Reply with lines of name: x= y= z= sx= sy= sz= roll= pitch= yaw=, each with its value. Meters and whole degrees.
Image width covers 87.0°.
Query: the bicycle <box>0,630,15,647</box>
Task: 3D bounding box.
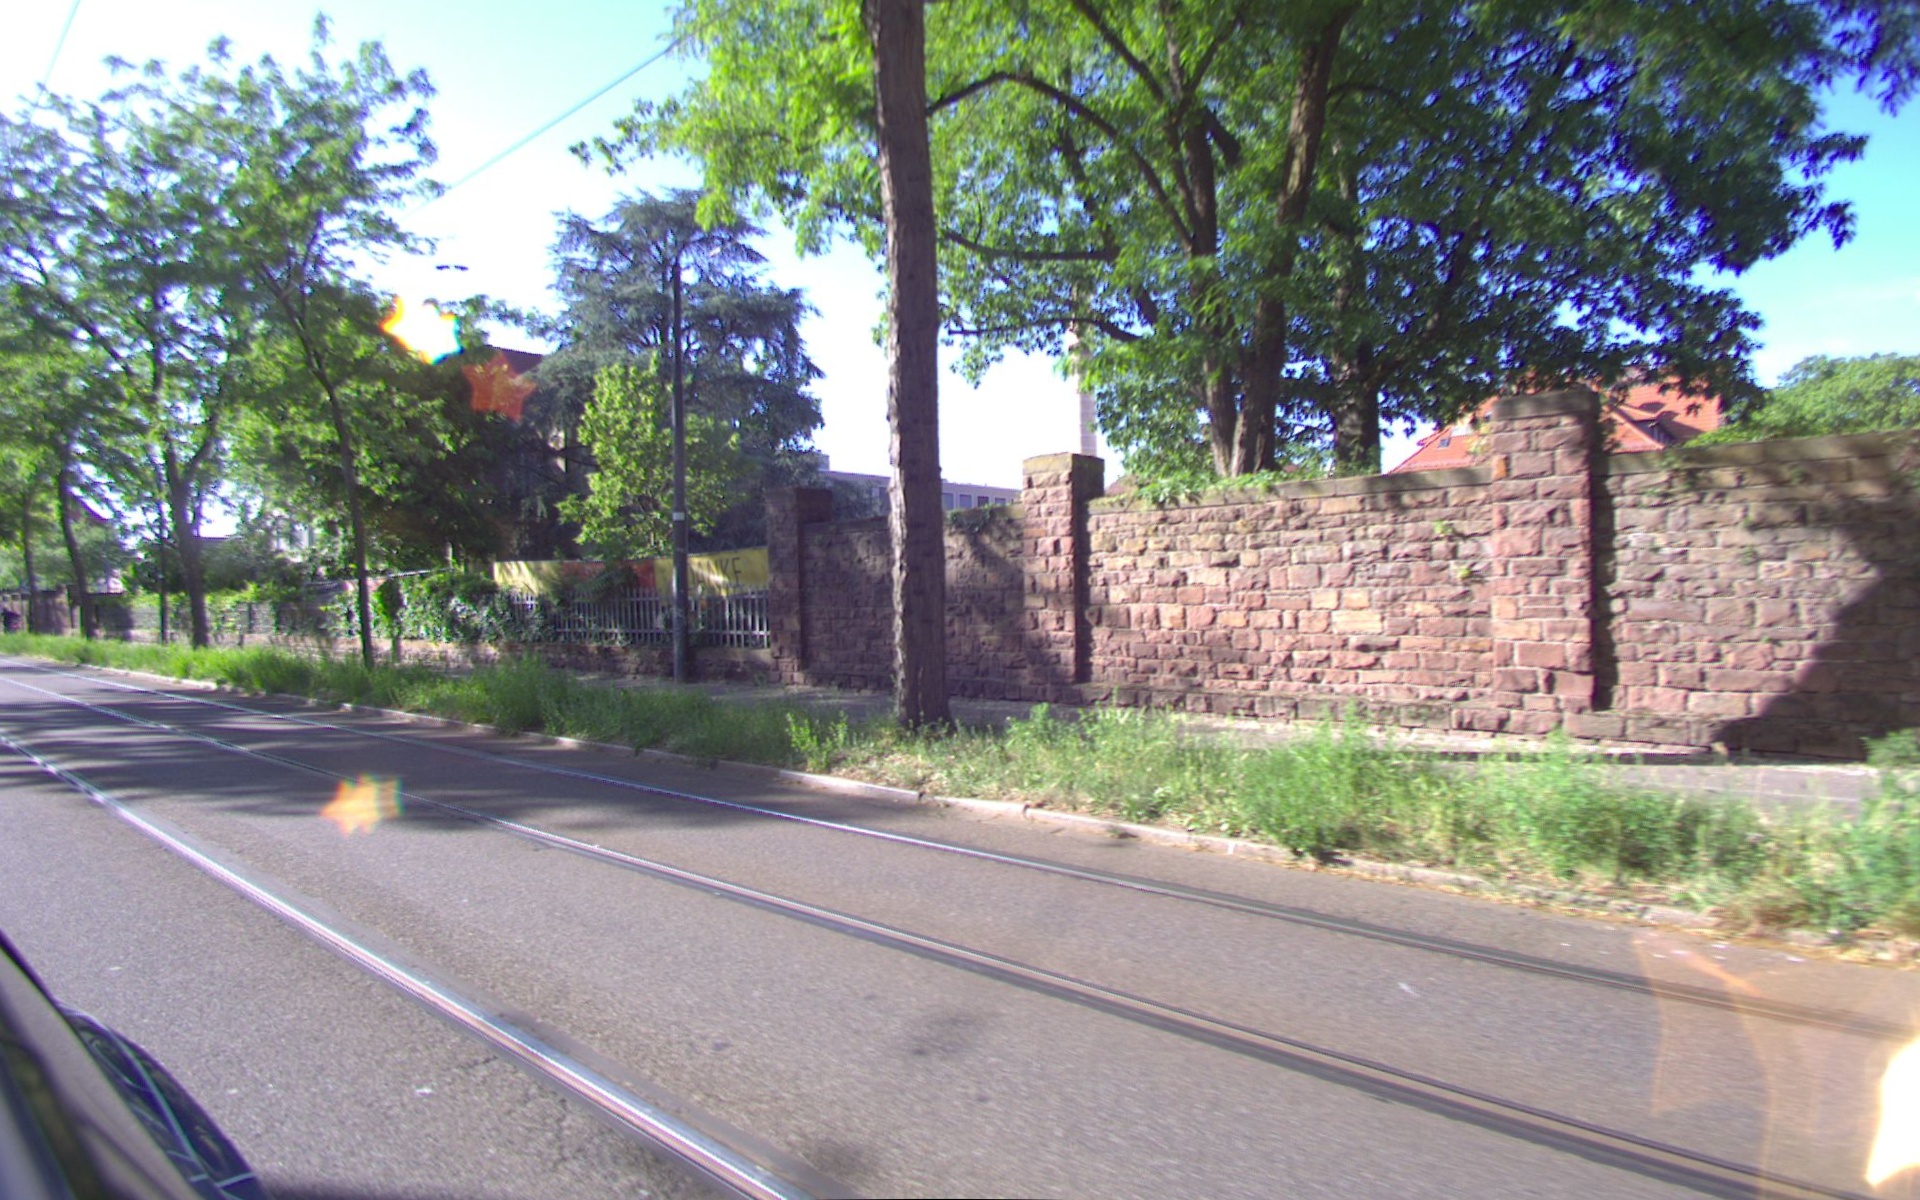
bicycle: x=-57.009 y=2.304 z=60.398 sx=2.094 sy=0.967 sz=0.703 roll=-1 pitch=0 yaw=42

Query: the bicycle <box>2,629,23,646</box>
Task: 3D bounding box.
bicycle: x=-58.357 y=2.301 z=62.313 sx=1.888 sy=0.981 sz=0.710 roll=0 pitch=2 yaw=42

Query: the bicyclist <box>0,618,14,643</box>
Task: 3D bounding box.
bicyclist: x=-57.009 y=1.815 z=60.395 sx=1.041 sy=1.481 sz=0.701 roll=-1 pitch=0 yaw=42

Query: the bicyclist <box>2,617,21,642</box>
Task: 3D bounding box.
bicyclist: x=-58.441 y=1.812 z=62.358 sx=0.956 sy=1.510 sz=0.702 roll=-1 pitch=2 yaw=41
